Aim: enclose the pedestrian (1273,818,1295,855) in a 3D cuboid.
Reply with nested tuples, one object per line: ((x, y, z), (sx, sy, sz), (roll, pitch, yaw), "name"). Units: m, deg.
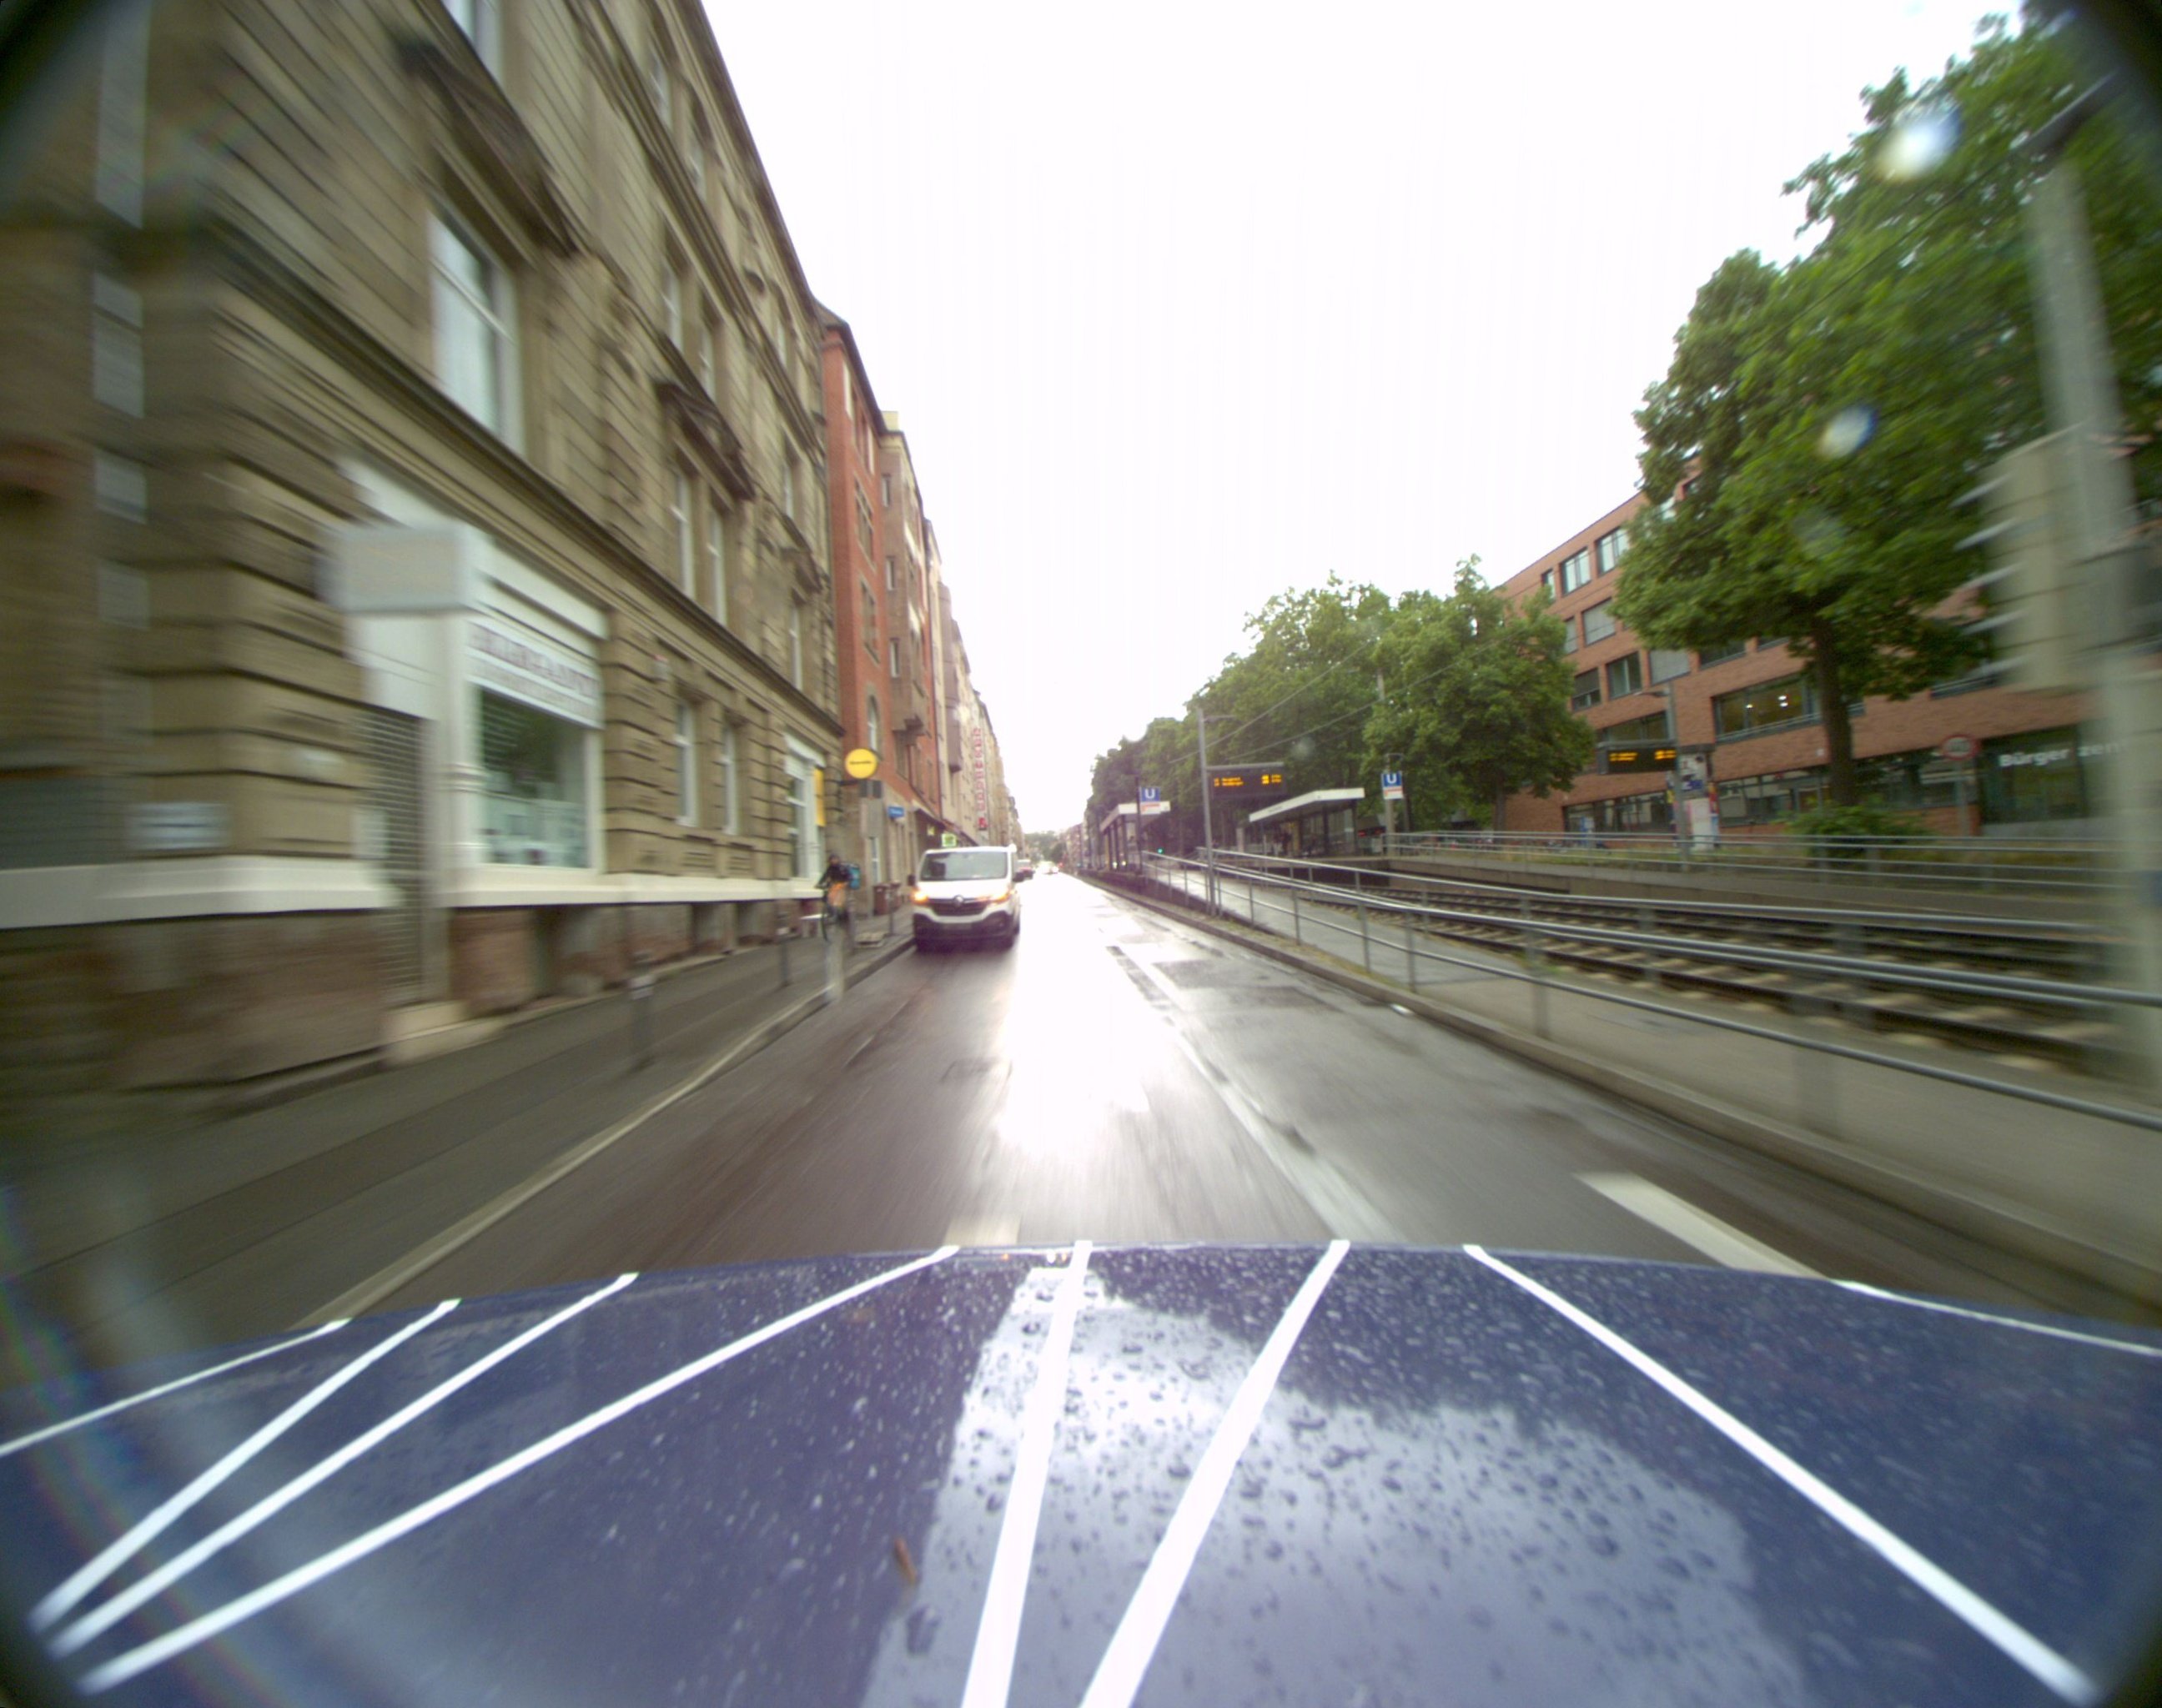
((11.395, -0.982, 42.645), (0.837, 2.050, 0.884), (-3, 1, -7), "pedestrian")

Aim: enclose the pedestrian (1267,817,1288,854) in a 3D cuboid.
((11.349, -1.064, 43.936), (0.837, 2.050, 0.884), (-3, 1, -7), "pedestrian")

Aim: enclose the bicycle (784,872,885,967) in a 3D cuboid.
((-4.679, 1.167, 14.741), (0.937, 1.545, 3.134), (-3, 0, -2), "bicycle")

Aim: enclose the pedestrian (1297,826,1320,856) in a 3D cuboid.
((11.714, -0.676, 39.072), (0.782, 1.474, 0.884), (-3, 0, -7), "pedestrian")

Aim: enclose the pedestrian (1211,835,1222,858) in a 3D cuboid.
((10.720, -0.566, 60.142), (0.677, 1.780, 0.703), (-2, 1, -3), "pedestrian")

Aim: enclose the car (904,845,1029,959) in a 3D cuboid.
((-2.220, 0.840, 16.399), (1.825, 1.893, 5.989), (-4, 0, -2), "car")

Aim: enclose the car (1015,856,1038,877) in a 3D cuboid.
((-5.269, 1.192, 72.990), (1.885, 1.838, 3.997), (-3, 0, -7), "car")

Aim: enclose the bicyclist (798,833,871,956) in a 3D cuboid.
((-4.757, 0.757, 14.768), (0.921, 2.250, 1.287), (-3, 0, -2), "bicyclist")

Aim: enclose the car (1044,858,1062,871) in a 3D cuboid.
((-3.332, 1.227, 89.833), (1.884, 1.438, 3.998), (-3, 0, -4), "car")
